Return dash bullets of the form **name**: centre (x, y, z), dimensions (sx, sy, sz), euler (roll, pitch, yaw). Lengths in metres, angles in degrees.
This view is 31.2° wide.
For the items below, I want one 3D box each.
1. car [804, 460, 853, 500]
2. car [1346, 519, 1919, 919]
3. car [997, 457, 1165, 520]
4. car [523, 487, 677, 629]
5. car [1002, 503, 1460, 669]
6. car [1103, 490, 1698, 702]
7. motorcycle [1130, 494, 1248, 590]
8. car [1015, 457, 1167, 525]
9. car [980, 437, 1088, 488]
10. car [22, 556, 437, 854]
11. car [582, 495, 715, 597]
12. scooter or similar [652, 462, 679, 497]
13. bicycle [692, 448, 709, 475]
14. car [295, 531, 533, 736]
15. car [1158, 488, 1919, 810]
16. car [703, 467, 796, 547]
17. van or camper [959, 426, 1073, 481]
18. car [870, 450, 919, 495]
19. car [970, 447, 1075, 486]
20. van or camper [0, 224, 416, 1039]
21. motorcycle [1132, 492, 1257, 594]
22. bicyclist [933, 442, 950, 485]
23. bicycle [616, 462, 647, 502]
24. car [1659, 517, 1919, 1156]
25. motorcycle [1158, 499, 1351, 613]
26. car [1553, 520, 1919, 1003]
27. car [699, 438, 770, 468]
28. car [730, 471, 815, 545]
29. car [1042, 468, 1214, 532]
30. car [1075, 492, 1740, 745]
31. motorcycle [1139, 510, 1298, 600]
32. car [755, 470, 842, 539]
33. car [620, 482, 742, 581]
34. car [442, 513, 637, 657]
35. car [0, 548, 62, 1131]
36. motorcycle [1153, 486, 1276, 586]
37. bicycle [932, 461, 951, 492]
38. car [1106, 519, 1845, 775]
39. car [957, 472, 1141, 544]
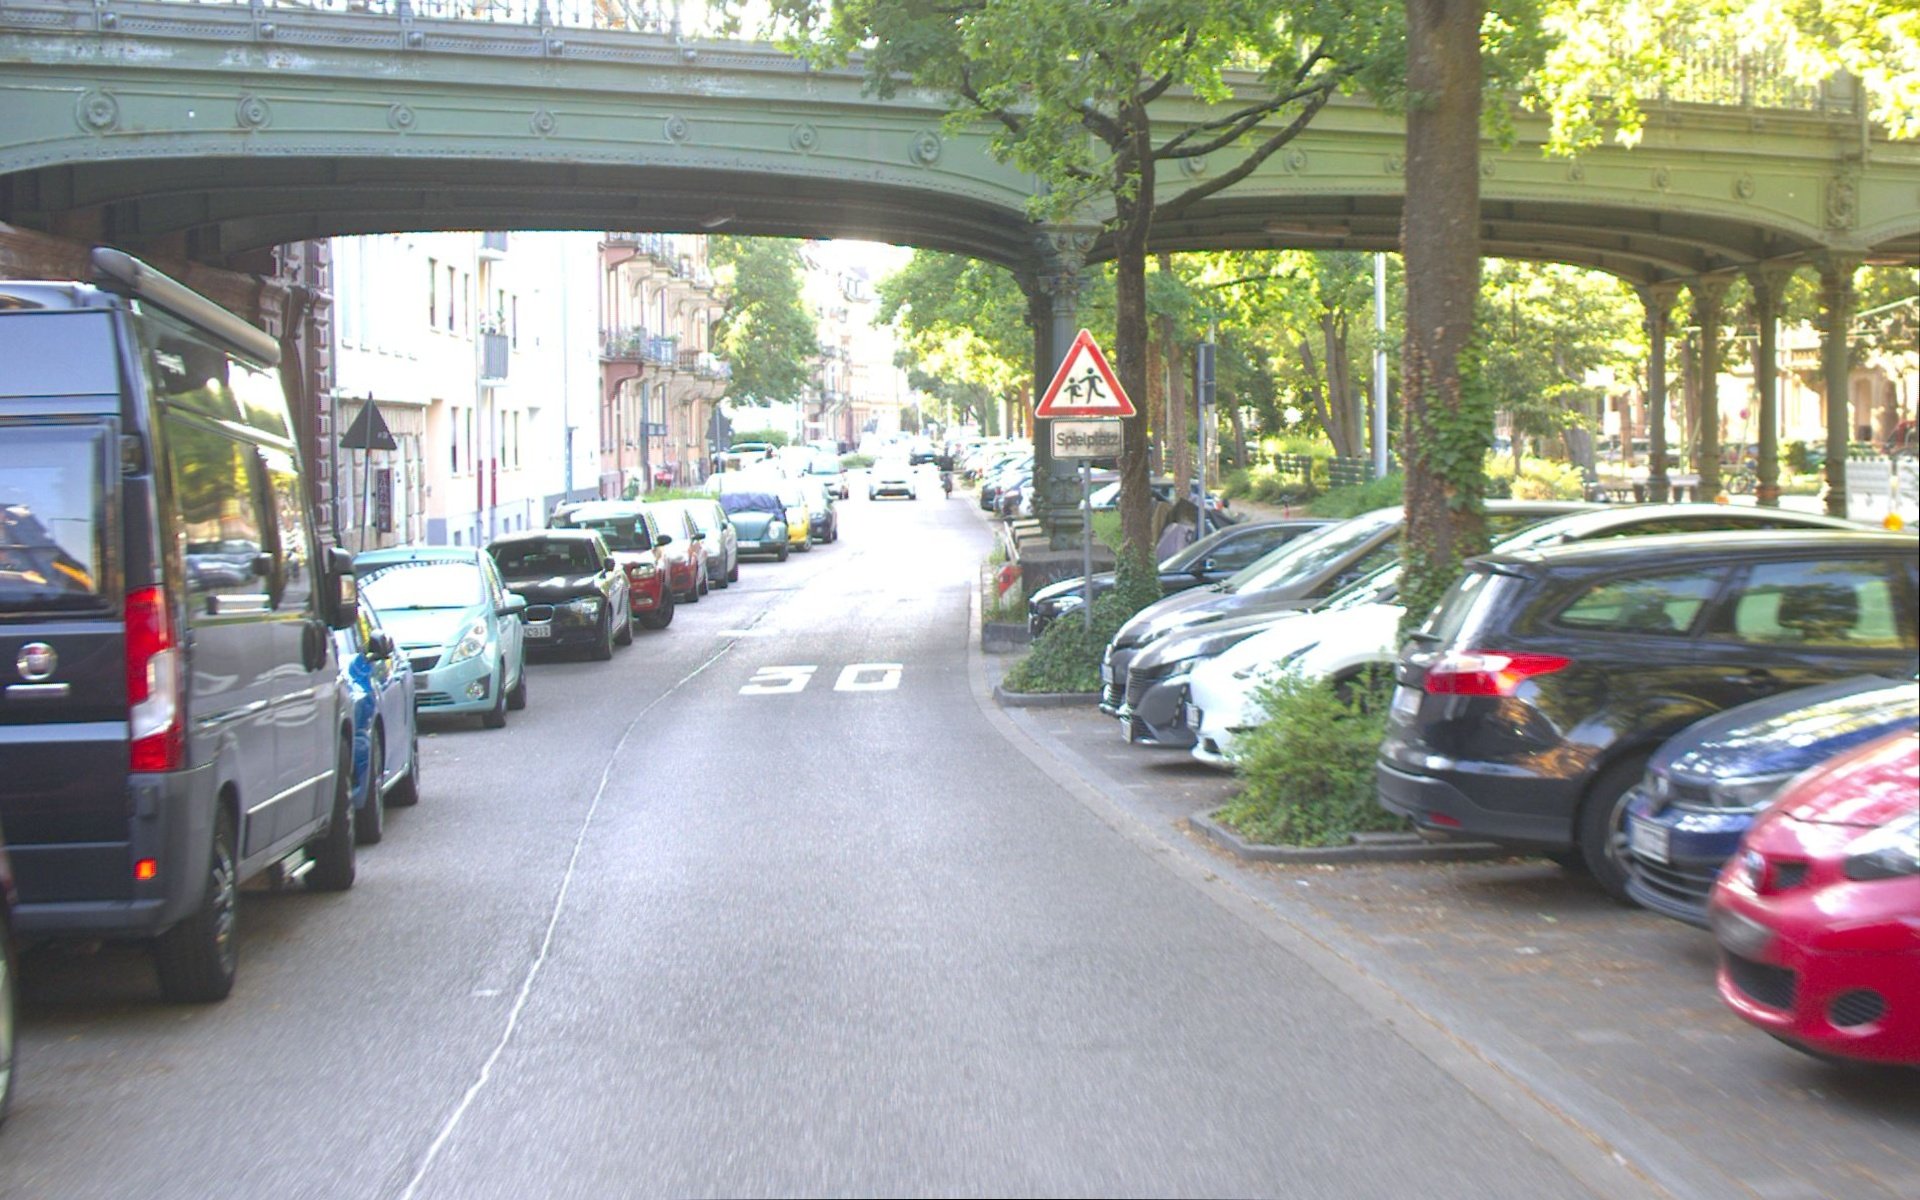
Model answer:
- **car**: centre (-4.931, -4.515, 129.209), dimensions (1.504, 1.430, 2.753), euler (-1, 3, 4)
- **car**: centre (3.749, 0.466, 14.433), dimensions (4.020, 1.568, 1.587), euler (0, 1, -2)
- **car**: centre (3.265, -3.003, 92.422), dimensions (4.400, 1.572, 1.664), euler (-1, 1, 5)
- **car**: centre (-4.713, -0.601, 45.472), dimensions (1.716, 1.702, 4.323), euler (-2, 2, -2)
- **car**: centre (2.652, -0.152, 34.283), dimensions (4.374, 1.572, 1.675), euler (0, 1, -2)
- **car**: centre (3.462, -0.050, 27.598), dimensions (4.587, 1.600, 1.734), euler (-1, 1, 3)
- **motorcycle**: centre (3.400, -0.867, 51.065), dimensions (1.601, 1.403, 0.712), euler (1, 1, 20)
- **car**: centre (3.334, -2.774, 87.700), dimensions (3.782, 1.640, 1.664), euler (-1, 1, 0)
- **car**: centre (2.962, -5.510, 137.844), dimensions (4.220, 1.857, 1.762), euler (-2, 3, 1)
- **car**: centre (-4.037, 0.510, 19.634), dimensions (1.744, 1.461, 4.376), euler (0, 1, -4)
- **car**: centre (-4.766, -0.867, 53.009), dimensions (1.689, 1.436, 4.001), euler (-1, 2, 0)
- **scooter or similar**: centre (-10.850, -4.437, 126.665), dimensions (0.783, 1.218, 2.704), euler (1, 1, -1)
- **bicycle**: centre (-11.286, -6.015, 149.707), dimensions (0.705, 1.143, 1.890), euler (0, 1, -4)
- **car**: centre (-4.640, 0.229, 29.652), dimensions (1.594, 1.542, 3.916), euler (-2, 2, -3)
- **car**: centre (3.479, 0.248, 19.373), dimensions (4.532, 1.690, 1.908), euler (0, 1, -2)
- **car**: centre (-4.215, -1.903, 69.265), dimensions (1.567, 1.512, 3.783), euler (-1, 3, 1)
- **van or camper**: centre (2.491, -6.575, 154.797), dimensions (4.981, 2.369, 2.185), euler (0, 1, -2)
- **car**: centre (-2.412, -4.730, 127.045), dimensions (1.668, 1.425, 4.001), euler (-3, 4, 0)
- **car**: centre (2.595, -5.529, 142.297), dimensions (4.220, 1.448, 1.649), euler (-2, 3, 4)
- **van or camper**: centre (-3.599, 0.025, 13.771), dimensions (2.235, 2.514, 6.423), euler (0, 1, -4)
- **motorcycle**: centre (3.292, -0.806, 48.184), dimensions (1.601, 1.403, 0.712), euler (1, 1, 20)
- **bicyclist**: centre (-0.684, -5.055, 127.097), dimensions (0.627, 1.567, 0.802), euler (0, 1, -2)
- **bicycle**: centre (-10.380, -3.737, 108.660), dimensions (0.737, 1.202, 2.514), euler (1, 4, 0)
- **car**: centre (4.069, 0.580, 9.298), dimensions (3.986, 1.568, 1.587), euler (0, 1, -2)
- **motorcycle**: centre (3.266, -0.487, 38.152), dimensions (1.929, 1.233, 0.905), euler (0, 1, -26)
- **car**: centre (4.230, 0.523, 12.028), dimensions (3.986, 1.568, 1.587), euler (0, 1, -2)
- **car**: centre (-13.218, -8.608, 201.360), dimensions (3.987, 1.700, 2.000), euler (1, 1, 1)
- **car**: centre (-4.073, -2.029, 75.077), dimensions (1.702, 1.520, 3.774), euler (-1, 3, -1)
- **car**: centre (3.880, -2.317, 79.867), dimensions (3.781, 1.396, 1.767), euler (-1, 1, -4)
- **car**: centre (3.107, 0.112, 24.459), dimensions (4.373, 1.702, 1.907), euler (0, 1, -5)
- **motorcycle**: centre (3.298, -0.576, 43.893), dimensions (1.831, 1.128, 0.851), euler (0, 1, -24)
- **car**: centre (-3.728, -2.245, 79.944), dimensions (1.739, 1.474, 4.001), euler (-2, 3, 1)
- **car**: centre (-4.651, -1.173, 57.659), dimensions (1.636, 1.461, 4.001), euler (-3, 3, 0)
- **car**: centre (-4.785, -0.218, 39.583), dimensions (1.717, 1.459, 4.001), euler (-2, 2, 0)
- **car**: centre (-3.290, 0.678, 7.444), dimensions (1.699, 1.502, 4.229), euler (-2, 1, -3)
- **motorcycle**: centre (3.638, -0.914, 49.094), dimensions (1.601, 1.403, 0.712), euler (1, 1, 20)
- **bicycle**: centre (-0.685, -4.572, 127.188), dimensions (0.641, 1.096, 1.944), euler (0, 1, -2)
- **car**: centre (3.201, 0.271, 21.951), dimensions (4.374, 1.527, 1.876), euler (0, 1, -2)
- **car**: centre (1.846, -1.931, 71.995), dimensions (3.782, 1.396, 1.827), euler (-1, 1, 1)
